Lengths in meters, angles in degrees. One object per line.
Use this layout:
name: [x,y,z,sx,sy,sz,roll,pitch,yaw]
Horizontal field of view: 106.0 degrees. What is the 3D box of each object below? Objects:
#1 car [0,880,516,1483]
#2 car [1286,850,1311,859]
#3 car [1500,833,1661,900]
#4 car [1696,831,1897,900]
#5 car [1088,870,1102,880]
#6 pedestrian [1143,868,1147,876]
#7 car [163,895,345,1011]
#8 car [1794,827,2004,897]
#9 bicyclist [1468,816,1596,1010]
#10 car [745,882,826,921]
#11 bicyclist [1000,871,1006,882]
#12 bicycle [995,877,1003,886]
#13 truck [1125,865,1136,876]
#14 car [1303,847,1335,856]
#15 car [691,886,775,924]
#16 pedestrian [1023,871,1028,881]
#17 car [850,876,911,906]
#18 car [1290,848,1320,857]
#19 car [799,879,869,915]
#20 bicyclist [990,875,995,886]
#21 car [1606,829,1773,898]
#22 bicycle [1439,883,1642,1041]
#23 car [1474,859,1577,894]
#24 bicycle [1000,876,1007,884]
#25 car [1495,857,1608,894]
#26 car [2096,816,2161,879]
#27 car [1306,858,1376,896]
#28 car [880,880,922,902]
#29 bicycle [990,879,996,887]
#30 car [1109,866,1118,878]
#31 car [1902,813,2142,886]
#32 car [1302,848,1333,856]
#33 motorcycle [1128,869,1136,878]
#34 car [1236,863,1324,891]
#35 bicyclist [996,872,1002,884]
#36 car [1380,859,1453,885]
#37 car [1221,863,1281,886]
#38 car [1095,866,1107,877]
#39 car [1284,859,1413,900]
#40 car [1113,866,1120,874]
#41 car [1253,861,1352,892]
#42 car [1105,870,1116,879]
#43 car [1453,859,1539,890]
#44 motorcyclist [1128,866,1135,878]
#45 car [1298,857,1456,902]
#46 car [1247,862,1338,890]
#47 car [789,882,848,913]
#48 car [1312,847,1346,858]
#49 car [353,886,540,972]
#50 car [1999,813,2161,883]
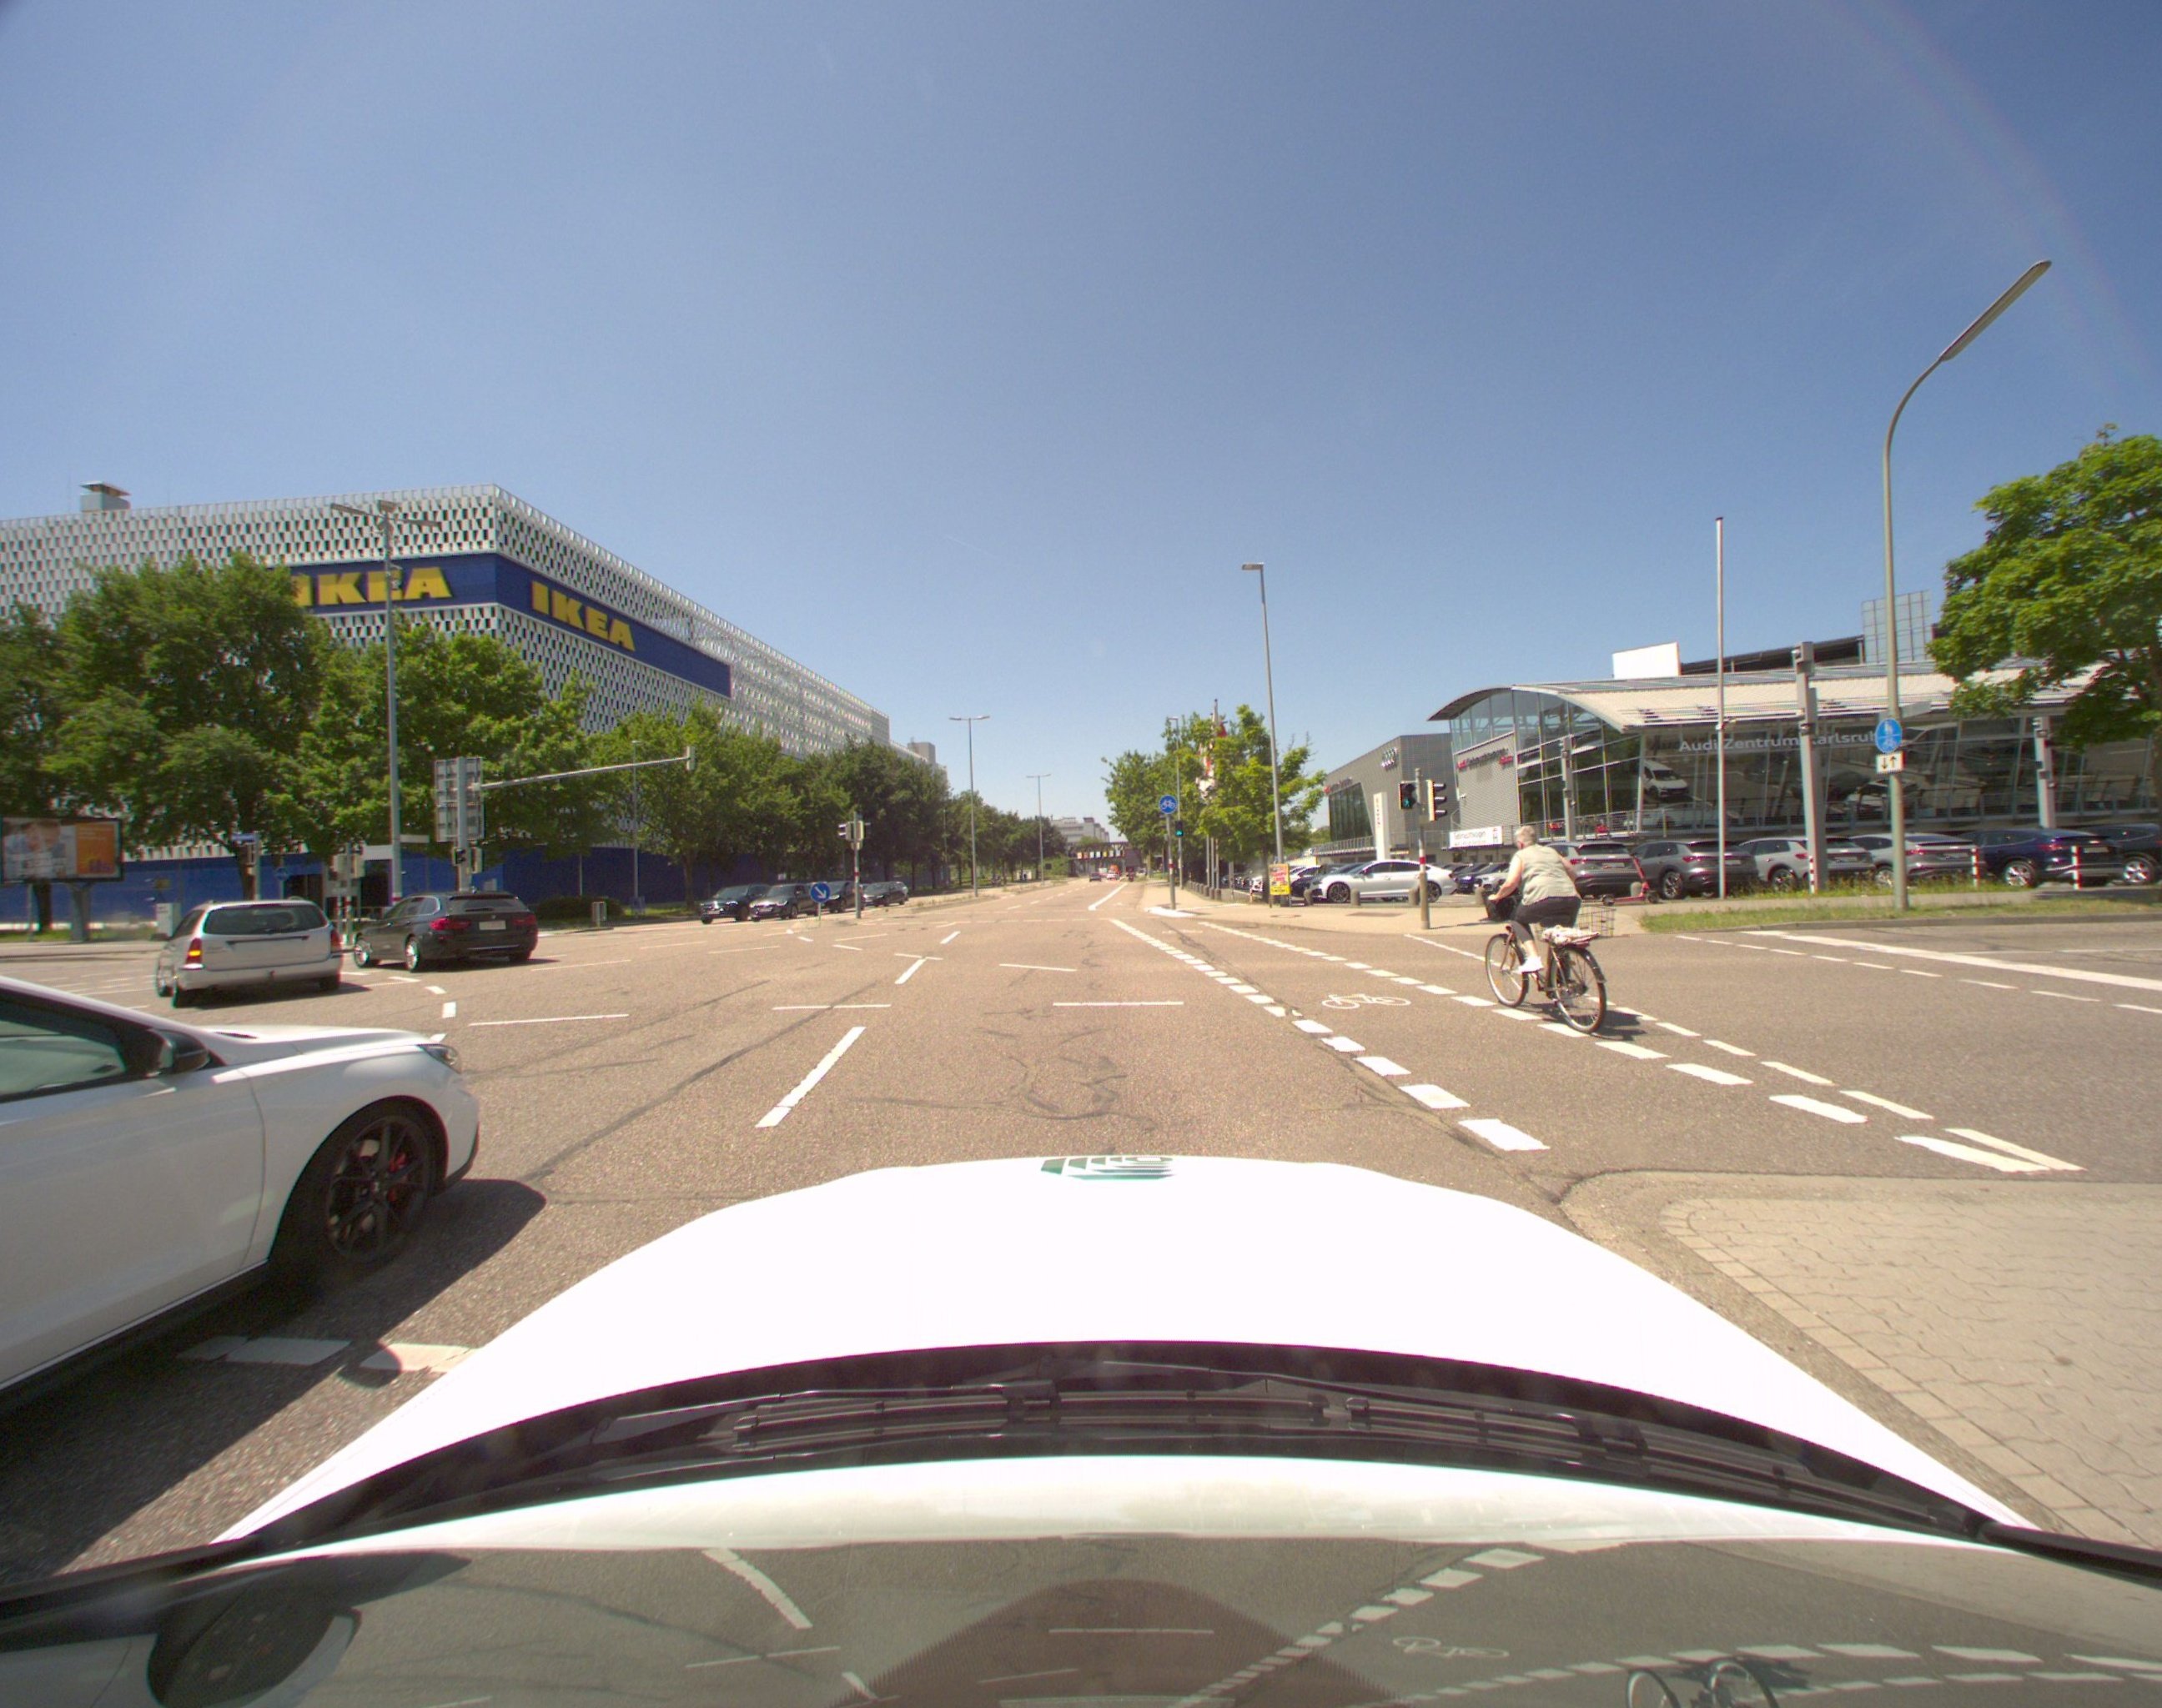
car: [-3.543,0.831,1.759,1.782,1.436,4.070,-1,-1,0]
car: [34.556,0.092,129.533,3.510,1.239,1.611,-1,-1,2]
car: [13.375,0.388,22.171,1.859,1.558,4.509,-3,-2,5]
car: [18.787,0.290,21.663,1.838,1.654,3.998,0,-1,0]
car: [2.144,3.256,124.537,1.892,1.376,4.235,-3,-1,3]
pedestrian: [11.021,3.129,140.230,0.621,1.374,0.565,-2,-1,2]
car: [-13.003,1.429,12.731,3.957,1.422,1.708,-3,0,41]
car: [21.133,0.186,21.281,1.631,1.616,3.818,-2,0,0]
bicyclist: [3.967,0.493,7.216,0.626,1.606,0.824,-1,-1,-3]
car: [-12.155,1.926,33.741,1.636,1.389,3.720,-4,-2,5]
bicyclist: [-11.963,3.501,125.128,0.631,1.629,1.045,-4,-2,3]
bicycle: [-11.735,3.951,116.574,0.736,1.125,2.435,-2,-1,2]
truck: [11.148,3.799,183.672,2.447,2.410,7.141,-1,-1,4]
car: [33.116,-0.357,113.329,3.926,1.211,1.717,-1,-1,0]
car: [-15.163,2.190,35.701,1.653,1.424,4.042,-3,-2,4]
pedestrian: [-11.123,4.357,162.571,0.740,1.884,0.578,-2,-1,4]
car: [-11.401,2.077,46.695,1.717,1.446,4.728,-4,-2,7]
car: [33.102,-0.258,120.615,3.974,1.312,1.797,0,-1,0]
car: [-11.977,2.069,39.852,1.718,1.505,4.249,-4,-2,5]
bicyclist: [-12.775,3.781,117.854,0.635,1.582,0.884,-2,-1,-2]
car: [15.998,0.269,21.711,1.834,1.654,4.006,0,-1,7]
bicycle: [3.969,0.865,7.241,0.626,1.133,1.892,-2,0,-3]
car: [21.154,1.071,38.877,3.967,1.622,1.658,0,-1,4]
bicycle: [-11.925,3.988,125.176,0.626,1.159,2.119,-4,-1,4]
car: [20.906,0.954,36.313,3.967,1.598,1.852,0,-1,4]
car: [29.362,-0.177,20.825,1.838,1.654,3.998,0,-1,0]
car: [10.510,0.921,33.267,1.853,1.420,4.670,0,-1,6]
car: [-13.457,2.745,61.195,1.718,1.446,4.457,-4,-2,5]
bicycle: [-12.756,4.175,117.943,0.635,1.134,1.969,-2,-1,-2]
car: [8.166,4.522,204.930,2.064,2.855,6.771,-3,-1,4]
car: [23.996,-0.073,21.011,1.623,1.654,3.910,-1,-1,0]
car: [32.059,-0.271,110.406,3.713,1.131,1.683,-1,-1,0]
motorcycle: [6.232,2.412,99.619,0.715,1.105,1.826,-1,-1,-5]
car: [10.335,1.187,42.506,4.207,1.390,1.871,0,-1,4]
bicyclist: [-11.755,3.396,116.595,0.742,1.686,0.952,-2,-1,2]
car: [21.541,1.170,52.371,3.967,1.654,1.852,0,-1,4]
car: [11.086,1.325,53.387,3.665,1.453,1.836,0,-1,4]
car: [3.847,3.331,157.239,1.985,2.014,4.003,-1,-1,3]
car: [9.487,0.903,29.177,4.077,1.390,1.871,0,-1,4]
car: [9.475,4.270,217.466,1.743,2.014,3.874,-2,-1,4]
car: [10.009,1.019,37.051,4.077,1.364,1.876,0,-1,4]
car: [5.185,3.577,143.165,1.916,1.420,4.003,-2,-1,3]
car: [21.268,1.034,41.831,3.631,1.581,1.644,0,-1,4]
motorcyclist: [6.221,2.186,99.645,0.718,1.529,0.869,-1,-2,-6]
car: [9.541,0.814,26.559,4.567,1.390,1.872,0,-1,7]
car: [10.311,1.065,39.904,4.081,1.349,1.871,0,-1,4]
car: [-14.654,2.383,45.666,1.719,1.544,3.919,-3,-2,4]
car: [32.807,-0.202,107.972,3.974,1.312,1.797,0,-1,0]
car: [-12.832,1.459,16.380,4.497,1.440,1.815,-4,-1,37]
car: [26.766,-0.117,20.929,1.838,1.654,3.998,0,-1,0]
